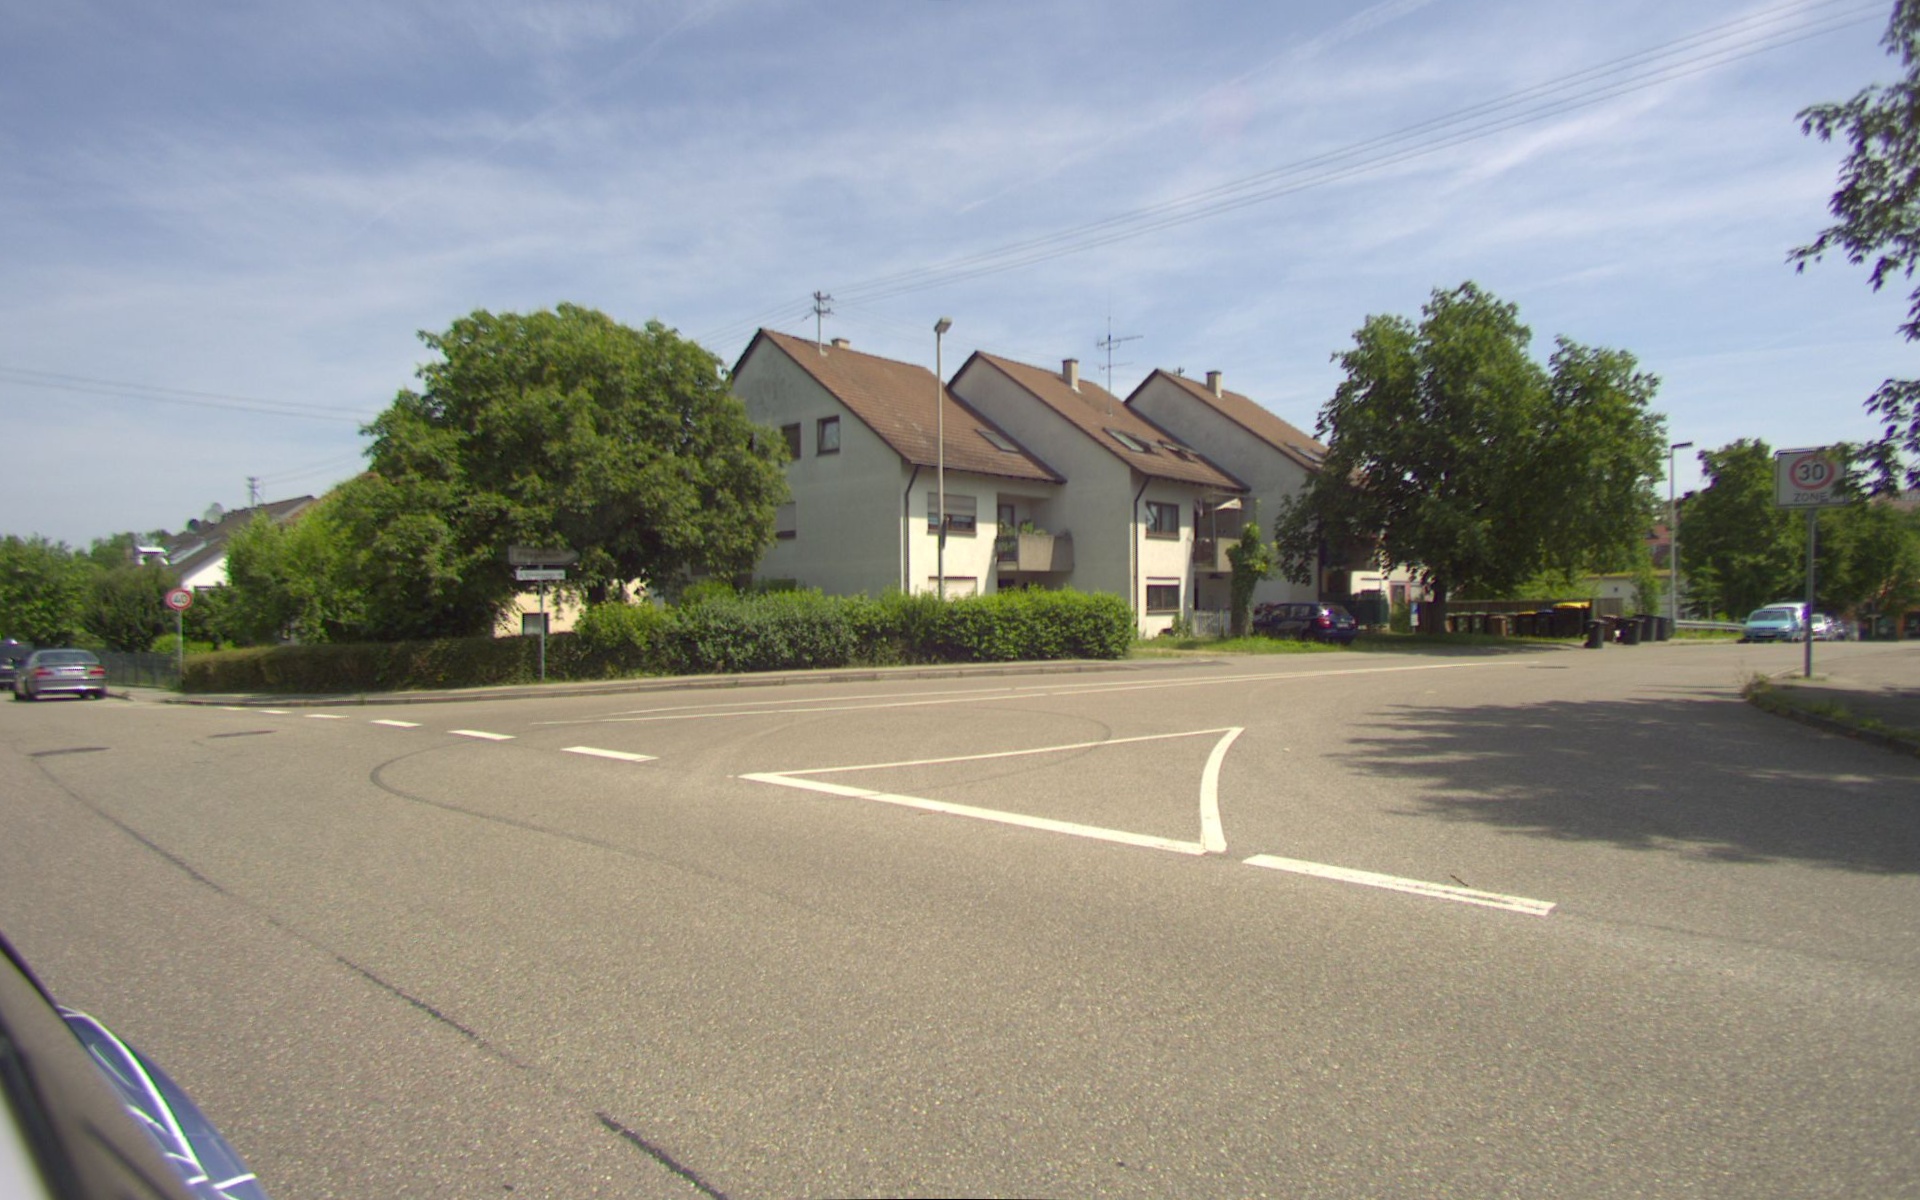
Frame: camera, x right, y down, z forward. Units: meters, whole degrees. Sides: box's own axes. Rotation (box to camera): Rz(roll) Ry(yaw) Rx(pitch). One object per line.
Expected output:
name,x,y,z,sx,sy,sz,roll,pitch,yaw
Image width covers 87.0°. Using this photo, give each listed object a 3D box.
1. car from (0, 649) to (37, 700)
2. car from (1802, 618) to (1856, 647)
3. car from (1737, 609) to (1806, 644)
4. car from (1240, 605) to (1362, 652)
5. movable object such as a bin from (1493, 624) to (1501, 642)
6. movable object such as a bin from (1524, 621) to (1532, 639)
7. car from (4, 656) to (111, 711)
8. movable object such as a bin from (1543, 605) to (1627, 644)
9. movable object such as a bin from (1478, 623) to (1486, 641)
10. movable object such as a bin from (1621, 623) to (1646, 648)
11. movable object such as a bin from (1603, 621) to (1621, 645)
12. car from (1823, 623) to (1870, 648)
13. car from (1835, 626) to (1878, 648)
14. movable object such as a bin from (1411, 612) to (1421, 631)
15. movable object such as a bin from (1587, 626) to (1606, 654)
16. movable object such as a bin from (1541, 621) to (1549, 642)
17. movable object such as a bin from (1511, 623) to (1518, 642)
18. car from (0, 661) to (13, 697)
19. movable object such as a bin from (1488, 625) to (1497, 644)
car,-38.053,2.932,39.809,4.865,1.935,1.877,-3,-4,40
car,44.445,1.682,51.762,3.811,1.345,1.757,3,-5,-45
car,33.484,1.126,41.730,3.811,1.345,1.757,3,-5,-45
car,10.789,0.899,32.245,1.373,1.373,3.618,-1,-1,-31
movable object such as a bin,21.768,1.343,41.013,0.229,0.734,0.234,-2,-1,26
movable object such as a bin,22.545,1.188,40.157,0.229,0.734,0.234,-2,-1,26
car,-25.423,2.311,28.471,4.408,1.405,1.761,-4,-4,42
movable object such as a bin,23.390,0.932,37.911,2.170,1.398,1.520,0,-3,-16
movable object such as a bin,21.377,1.311,41.435,0.228,0.734,0.235,-2,-1,15
movable object such as a bin,23.634,1.242,35.532,0.509,0.881,0.519,-1,-1,3
movable object such as a bin,23.654,1.192,36.742,0.367,0.863,0.373,-1,-1,-10
car,52.456,2.129,59.852,3.811,1.345,1.757,3,-5,-45
car,56.959,2.376,64.297,3.811,1.345,1.757,3,-5,-45
movable object such as a bin,17.967,0.836,39.869,0.247,0.734,0.236,-1,-1,3
movable object such as a bin,20.925,1.317,33.265,0.386,0.881,0.397,0,-1,-41
movable object such as a bin,22.993,1.226,39.749,0.229,0.811,0.234,-2,-1,26
movable object such as a bin,22.183,1.307,40.485,0.229,0.734,0.234,-2,-1,26
car,-43.827,3.605,45.166,4.239,1.561,1.793,-5,-4,40
movable object such as a bin,20.683,1.352,39.307,0.227,0.734,0.236,-1,-1,3
